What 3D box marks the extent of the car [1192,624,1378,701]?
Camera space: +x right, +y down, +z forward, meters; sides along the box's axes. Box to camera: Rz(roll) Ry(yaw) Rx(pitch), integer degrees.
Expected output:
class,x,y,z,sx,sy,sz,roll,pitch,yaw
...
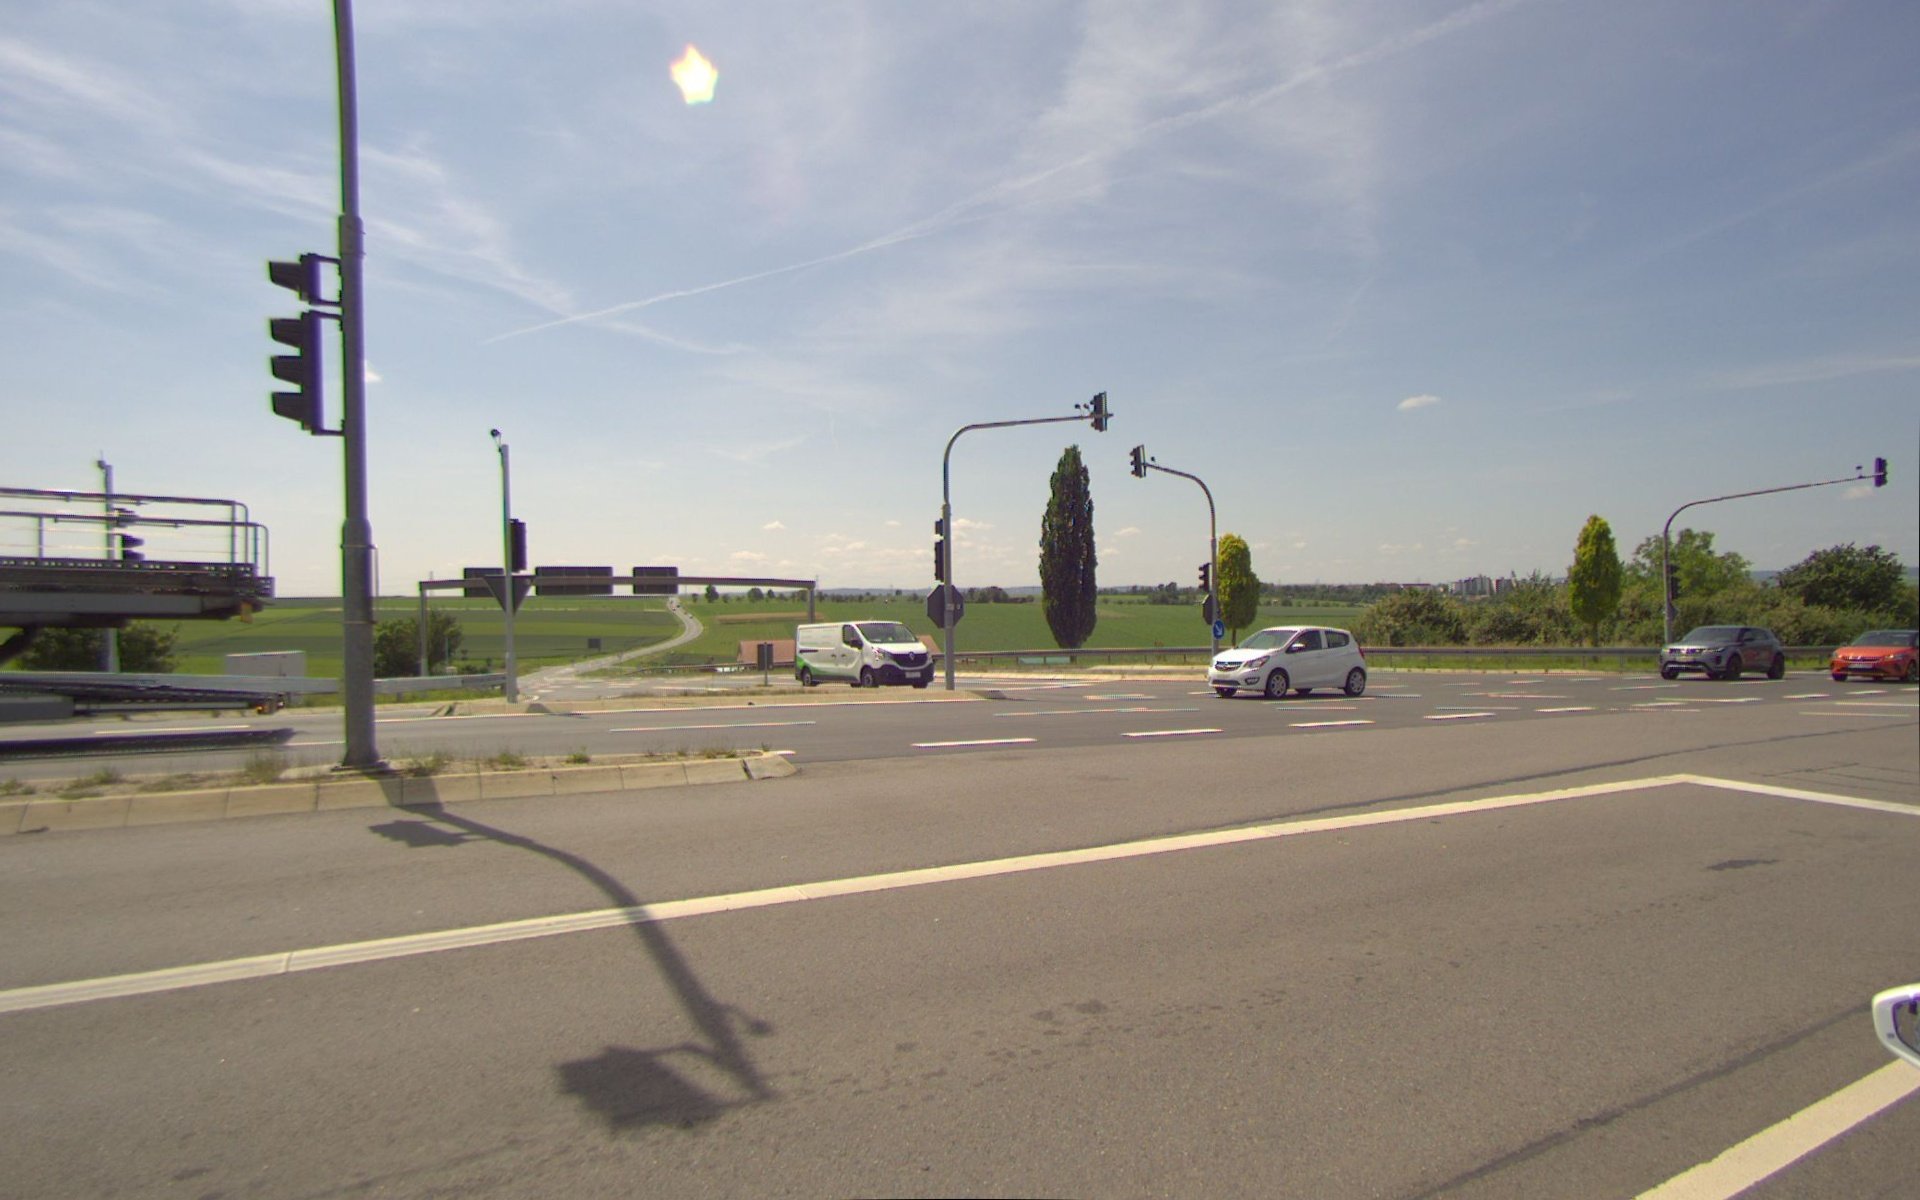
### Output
class,x,y,z,sx,sy,sz,roll,pitch,yaw
car,6.917,1.307,21.338,3.754,1.516,1.638,2,-2,-29

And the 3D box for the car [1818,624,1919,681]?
class,x,y,z,sx,sy,sz,roll,pitch,yaw
car,26.344,1.473,28.558,4.015,1.516,1.638,1,-3,-29

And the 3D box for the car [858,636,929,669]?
class,x,y,z,sx,sy,sz,roll,pitch,yaw
car,-3.597,2.787,53.795,1.619,1.479,4.445,2,0,-37

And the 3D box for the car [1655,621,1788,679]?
class,x,y,z,sx,sy,sz,roll,pitch,yaw
car,23.081,1.513,30.420,4.276,1.645,1.637,2,-3,-29

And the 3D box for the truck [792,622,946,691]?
class,x,y,z,sx,sy,sz,roll,pitch,yaw
truck,-2.707,1.570,28.647,1.981,1.779,5.228,2,-3,-37

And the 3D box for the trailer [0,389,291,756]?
class,x,y,z,sx,sy,sz,roll,pitch,yaw
trailer,-17.097,-0.477,7.789,19.565,3.813,2.627,2,-1,-30
